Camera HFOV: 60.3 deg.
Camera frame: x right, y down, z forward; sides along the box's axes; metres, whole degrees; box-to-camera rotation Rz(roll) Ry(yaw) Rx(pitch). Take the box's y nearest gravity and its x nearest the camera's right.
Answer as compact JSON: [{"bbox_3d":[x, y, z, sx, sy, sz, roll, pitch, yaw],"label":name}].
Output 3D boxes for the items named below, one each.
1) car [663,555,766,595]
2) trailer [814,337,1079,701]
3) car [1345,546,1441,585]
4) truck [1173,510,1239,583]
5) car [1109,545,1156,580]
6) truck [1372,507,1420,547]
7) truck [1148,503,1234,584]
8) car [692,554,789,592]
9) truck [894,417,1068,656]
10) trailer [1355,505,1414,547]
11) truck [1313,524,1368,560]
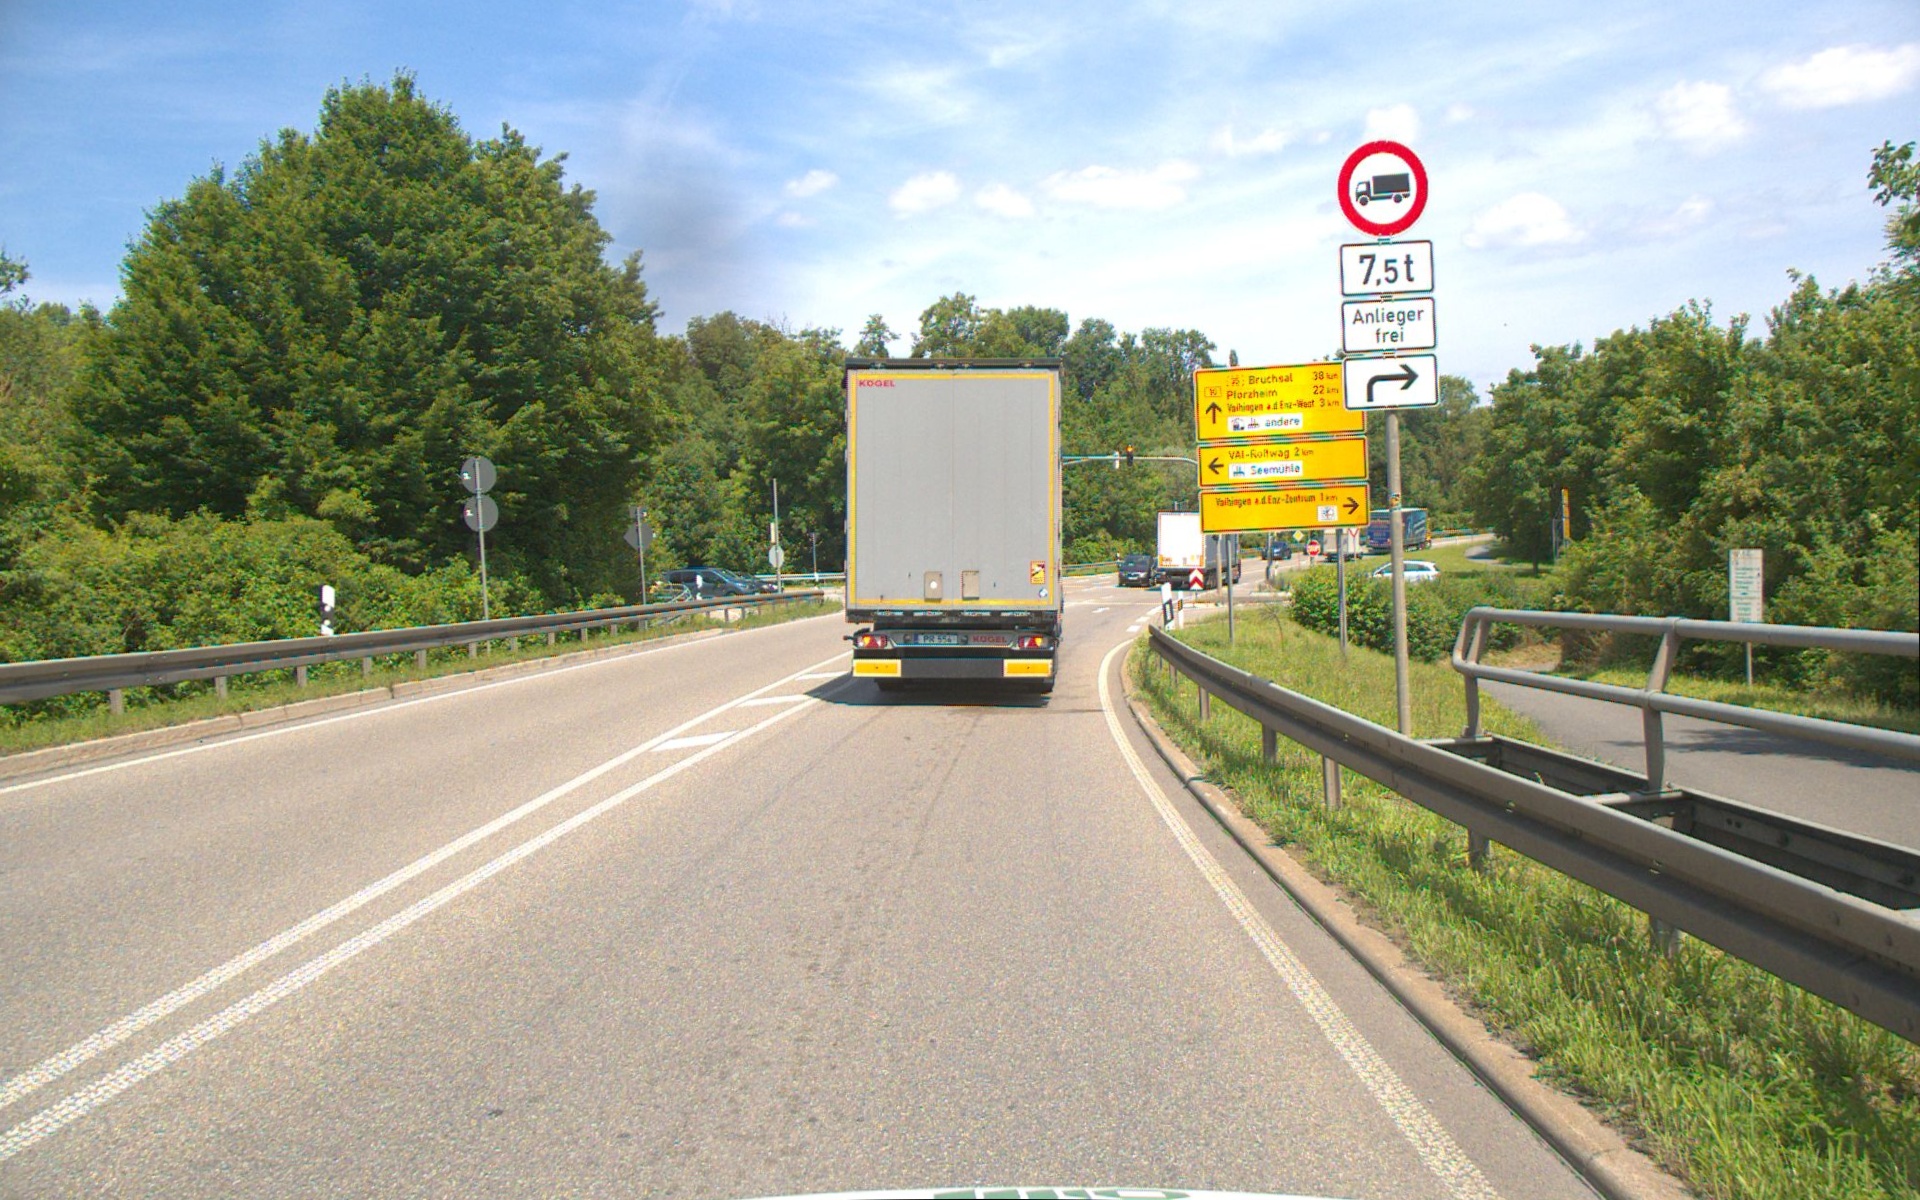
[{"bbox_3d":[-11.118,-1.122,74.850,4.144,1.801,2.001,0,1,17],"label":"car"},{"bbox_3d":[0.173,-1.011,24.952,2.988,4.104,12.565,0,1,3],"label":"trailer"},{"bbox_3d":[20.553,-1.639,78.673,4.333,1.748,2.002,1,0,12],"label":"car"},{"bbox_3d":[14.232,-2.994,95.290,3.101,4.074,5.819,0,0,15],"label":"truck"},{"bbox_3d":[9.757,-2.092,93.038,1.951,1.816,4.946,2,0,13],"label":"car"},{"bbox_3d":[42.345,-7.076,160.518,3.190,3.749,6.235,1,2,28],"label":"truck"},{"bbox_3d":[12.632,-2.938,89.477,3.112,4.099,11.754,0,1,15],"label":"truck"},{"bbox_3d":[-10.455,-1.277,78.933,4.144,1.801,2.001,0,1,17],"label":"car"},{"bbox_3d":[0.537,-1.138,31.768,2.974,4.104,6.632,0,1,3],"label":"truck"},{"bbox_3d":[40.272,-6.944,156.679,3.190,3.749,9.237,1,2,28],"label":"trailer"},{"bbox_3d":[32.705,-4.978,141.906,2.801,2.999,7.094,1,2,28],"label":"truck"}]
